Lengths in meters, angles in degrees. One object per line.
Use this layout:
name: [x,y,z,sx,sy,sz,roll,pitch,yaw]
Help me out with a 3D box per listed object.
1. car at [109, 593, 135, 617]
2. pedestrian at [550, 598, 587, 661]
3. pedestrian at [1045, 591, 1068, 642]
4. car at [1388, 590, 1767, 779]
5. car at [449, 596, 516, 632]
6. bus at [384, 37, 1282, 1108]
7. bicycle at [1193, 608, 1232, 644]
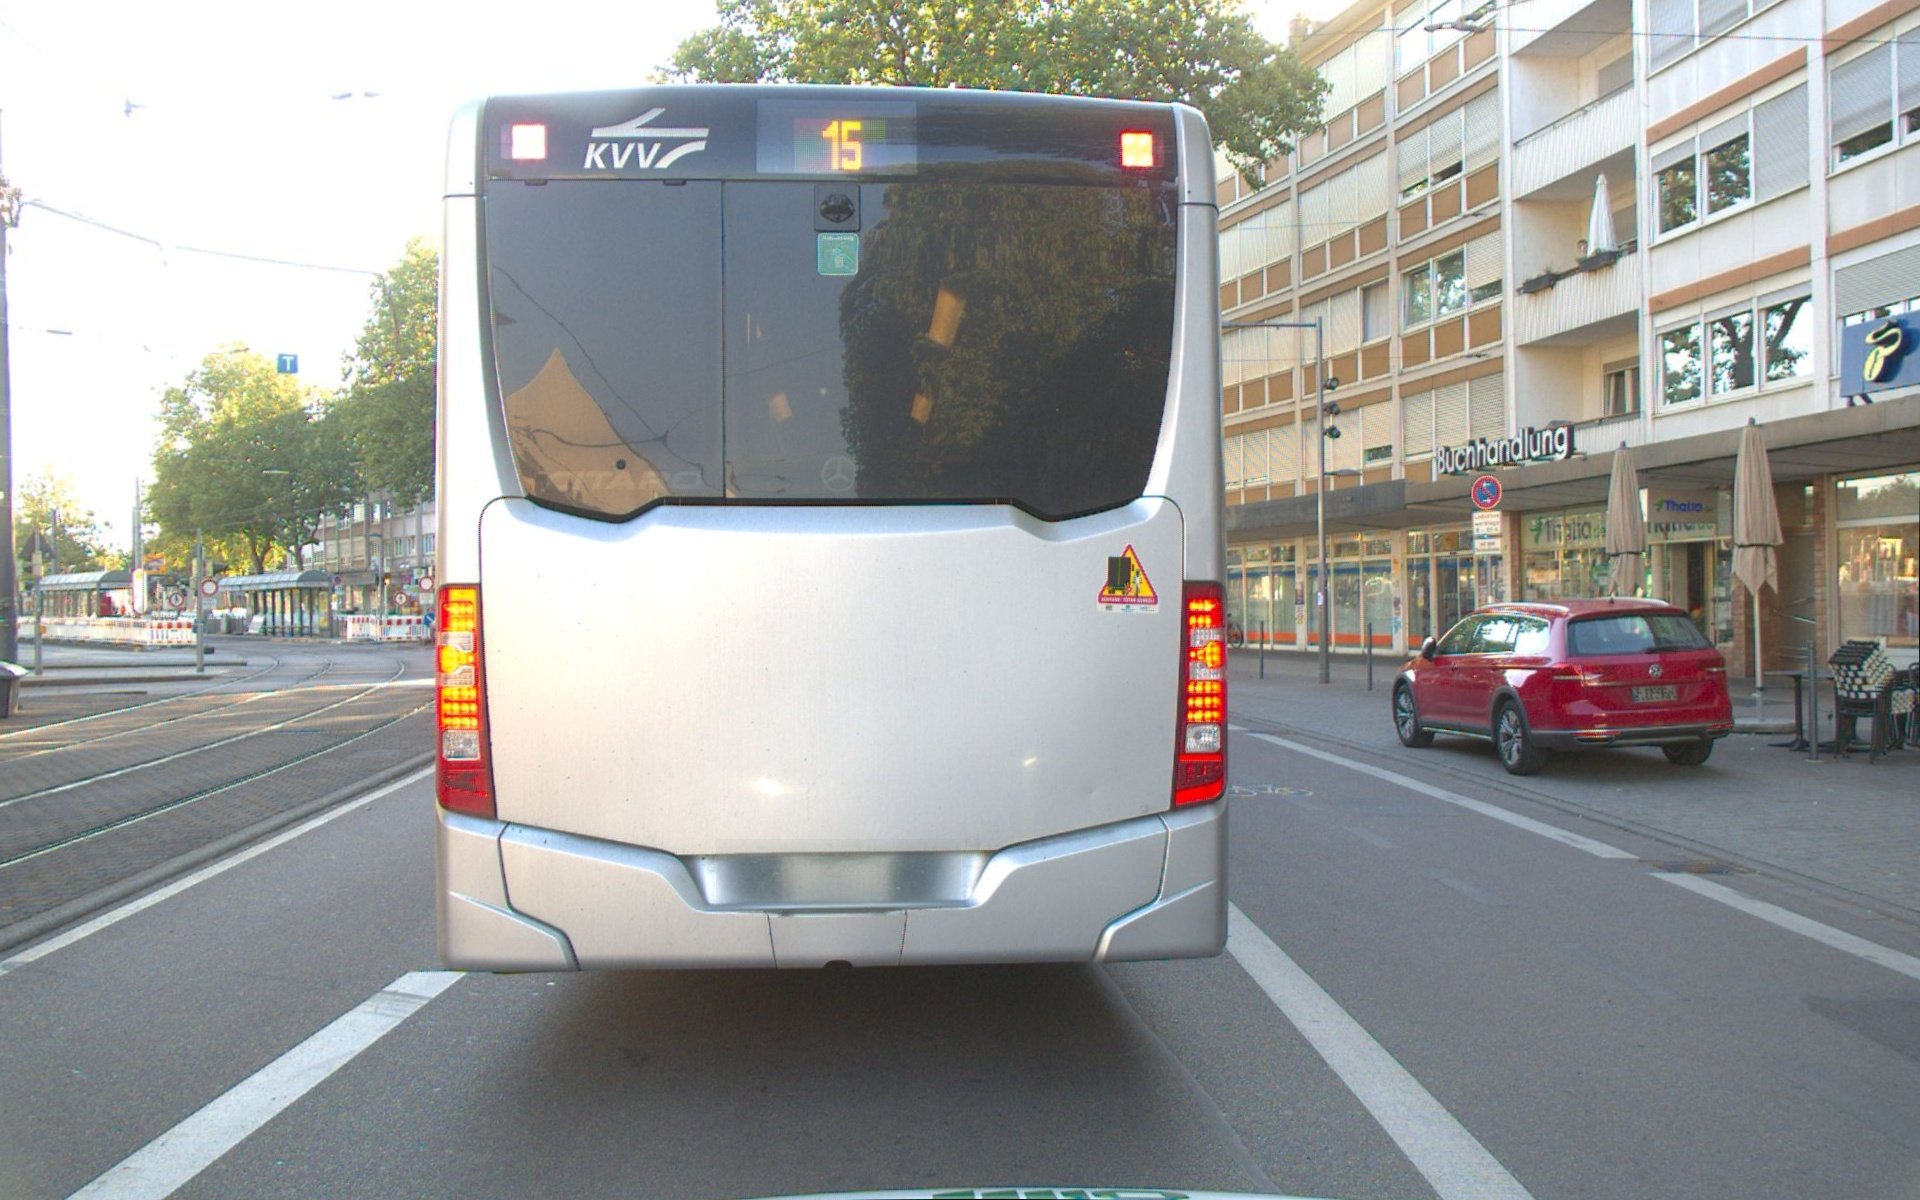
car: [-72.108,0.422,142.343,1.604,2.049,3.075,-1,0,-34]
pedestrian: [-10.634,0.807,44.948,0.977,1.716,0.642,0,-2,-13]
pedestrian: [3.167,0.535,54.399,0.527,1.677,0.612,-1,0,-18]
car: [5.706,0.703,15.923,1.735,1.508,4.299,-2,0,-4]
car: [-25.320,0.729,87.647,1.982,1.823,3.940,1,-1,-41]
bus: [-0.436,-0.063,9.790,2.577,3.081,9.995,0,0,-1]
bicycle: [7.025,0.718,46.019,0.406,0.961,1.431,-1,0,-20]
